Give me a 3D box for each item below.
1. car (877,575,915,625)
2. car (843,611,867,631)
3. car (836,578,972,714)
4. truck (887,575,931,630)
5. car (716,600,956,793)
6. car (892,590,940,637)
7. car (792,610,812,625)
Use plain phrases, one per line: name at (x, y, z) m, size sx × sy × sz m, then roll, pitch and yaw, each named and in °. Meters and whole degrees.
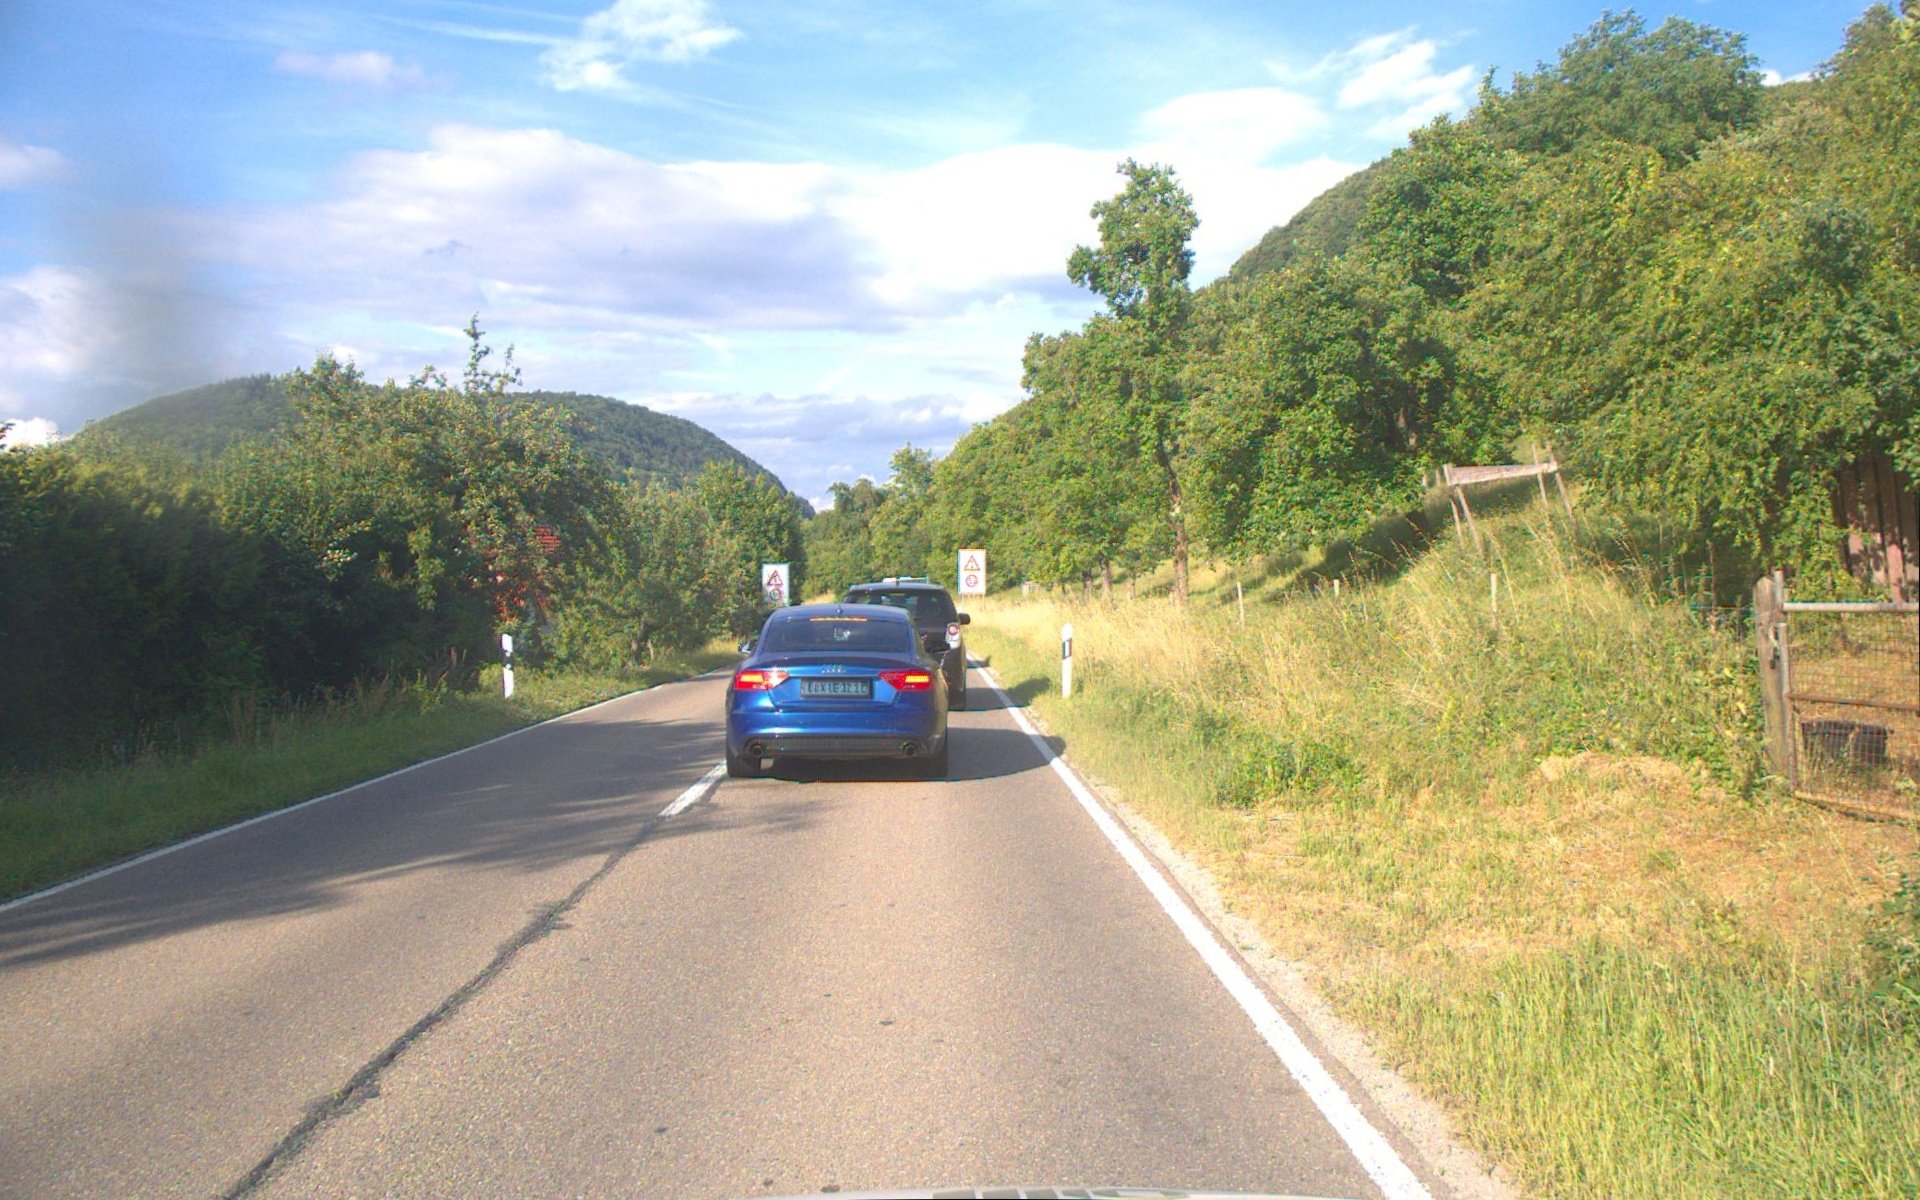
car at (-3.328, -0.016, 85.696) m, size 1.757 × 2.496 × 3.915 m, roll 1°, pitch 0°, yaw -5°
car at (-8.683, 1.719, 136.376) m, size 1.530 × 1.522 × 3.769 m, roll 1°, pitch 0°, yaw -10°
car at (-0.741, 0.545, 22.004) m, size 1.658 × 1.652 × 3.788 m, roll 0°, pitch 0°, yaw -2°
truck at (-2.356, 0.099, 75.345) m, size 1.911 × 2.386 × 5.091 m, roll 1°, pitch 0°, yaw -3°
car at (-0.967, 0.713, 14.368) m, size 1.769 × 1.406 × 4.213 m, roll 0°, pitch 0°, yaw -1°
car at (-1.568, 0.458, 59.063) m, size 1.658 × 1.652 × 3.788 m, roll 0°, pitch 0°, yaw -2°
car at (-16.495, 1.804, 172.750) m, size 1.532 × 1.522 × 3.764 m, roll 1°, pitch 0°, yaw -14°
